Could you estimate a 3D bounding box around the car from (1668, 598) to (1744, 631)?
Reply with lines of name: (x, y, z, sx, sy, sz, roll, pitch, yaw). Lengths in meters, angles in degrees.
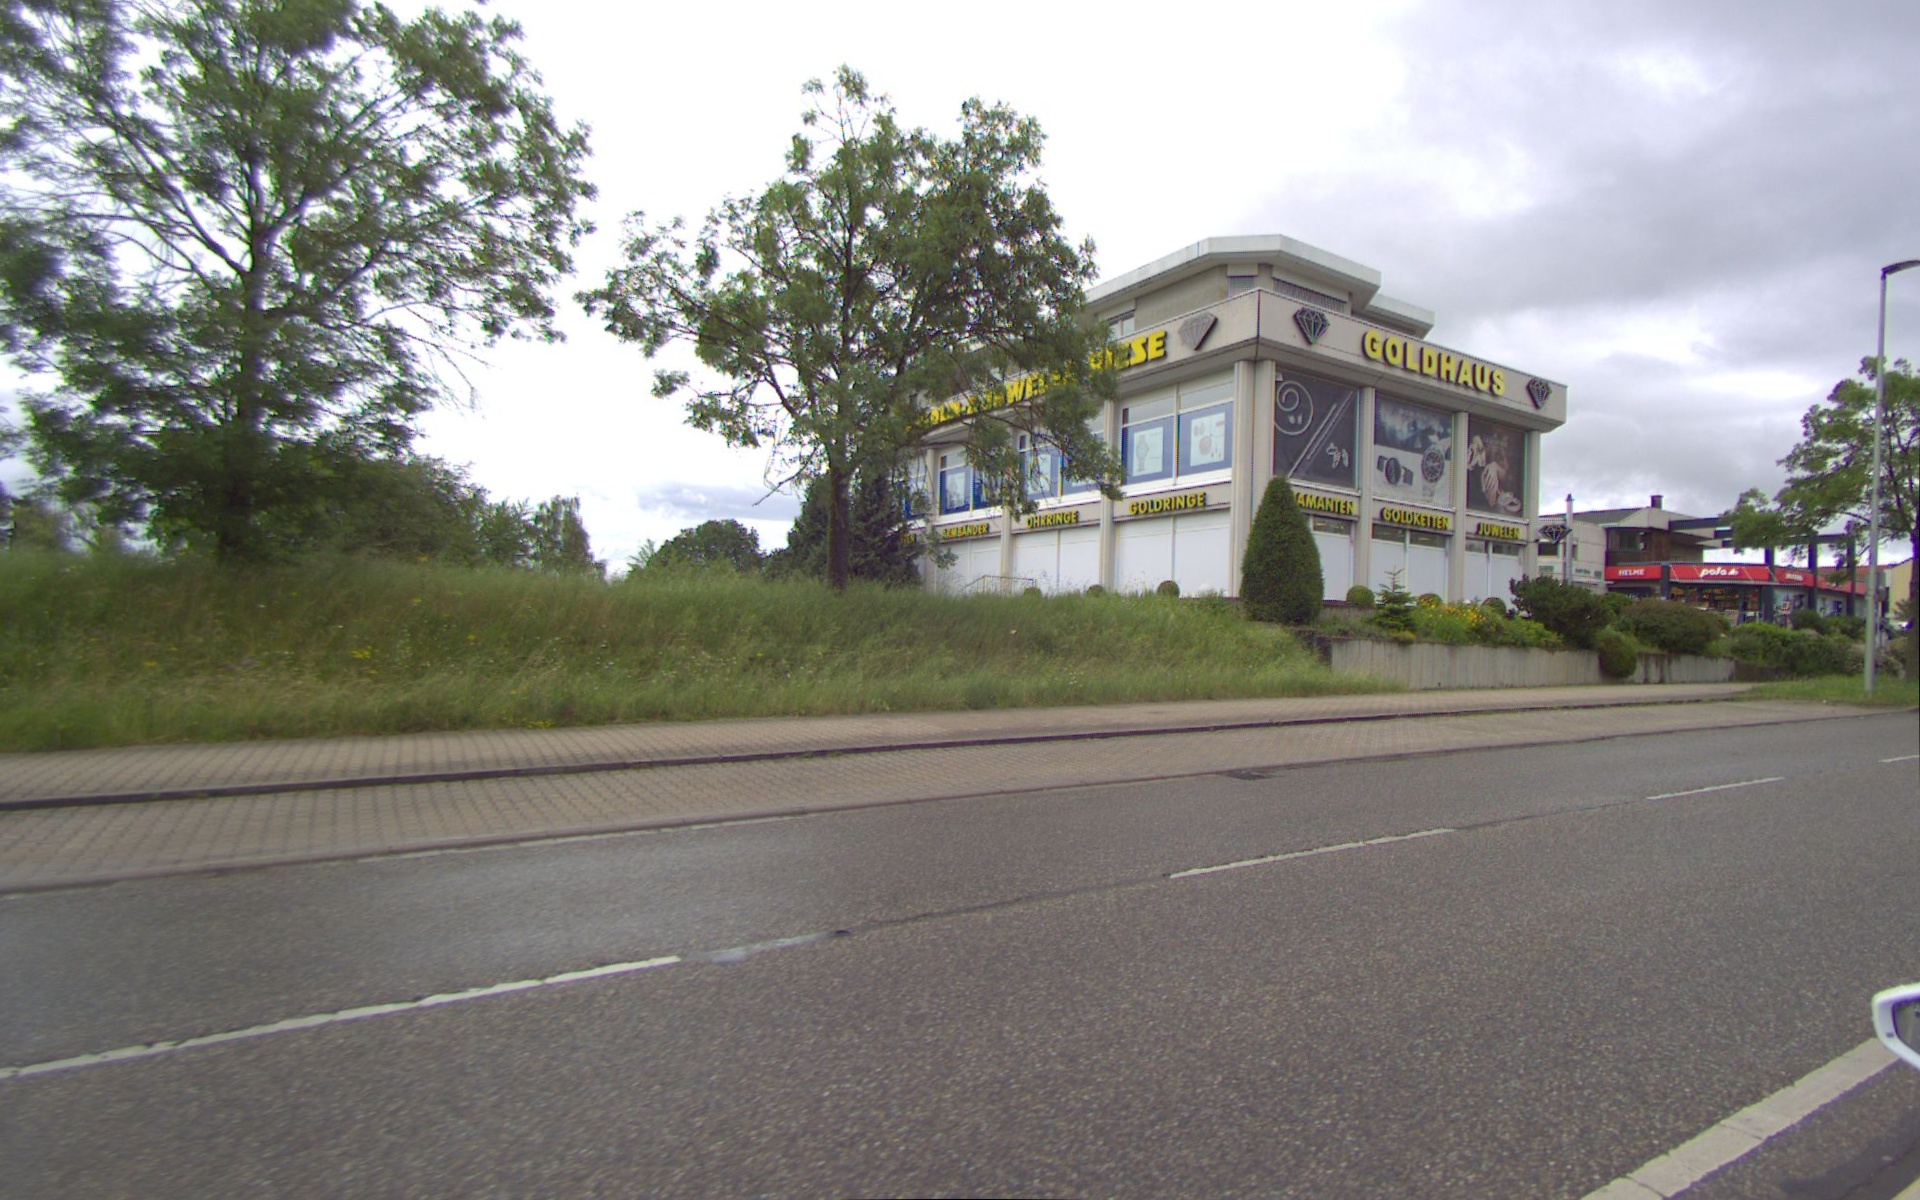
car: (37.859, 0.741, 50.952, 3.956, 1.532, 1.666, 2, -3, -30)

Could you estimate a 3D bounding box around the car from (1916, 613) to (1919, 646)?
car: (45.230, 1.367, 44.631, 1.726, 1.502, 3.799, 2, -2, -37)

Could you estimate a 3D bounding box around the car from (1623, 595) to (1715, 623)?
car: (41.396, 0.520, 58.724, 1.851, 1.532, 3.975, 2, -1, -27)

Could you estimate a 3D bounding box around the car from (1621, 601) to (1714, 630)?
car: (39.033, 0.859, 55.500, 1.856, 1.502, 3.802, 2, -1, -35)
